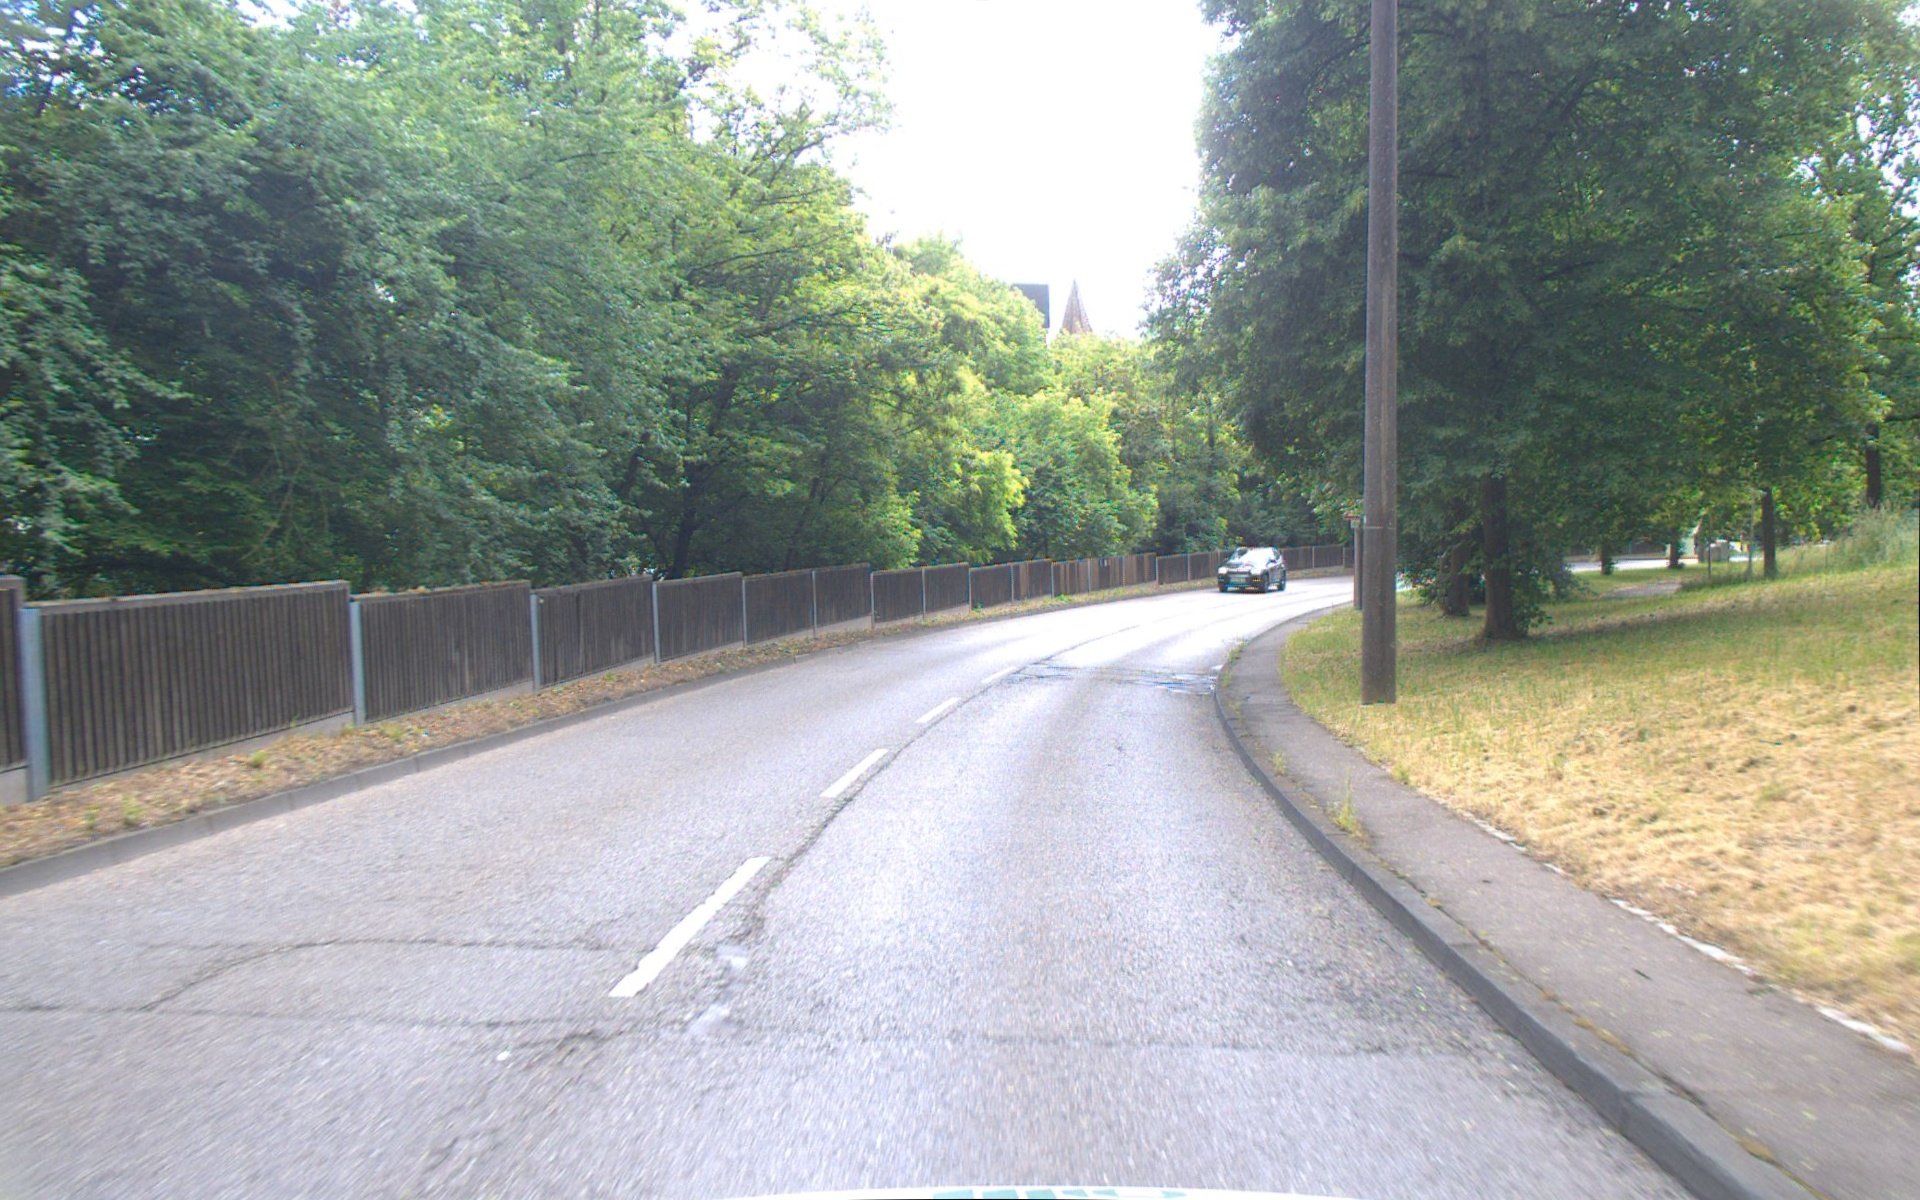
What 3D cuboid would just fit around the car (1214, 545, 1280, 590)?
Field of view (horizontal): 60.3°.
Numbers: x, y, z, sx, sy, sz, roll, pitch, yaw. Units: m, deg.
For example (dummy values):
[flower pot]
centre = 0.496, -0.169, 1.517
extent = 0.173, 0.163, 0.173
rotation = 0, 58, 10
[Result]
[car]
centre = 10.850, -1.251, 62.305
extent = 1.807, 1.591, 4.235
rotation = 1, 2, 19
